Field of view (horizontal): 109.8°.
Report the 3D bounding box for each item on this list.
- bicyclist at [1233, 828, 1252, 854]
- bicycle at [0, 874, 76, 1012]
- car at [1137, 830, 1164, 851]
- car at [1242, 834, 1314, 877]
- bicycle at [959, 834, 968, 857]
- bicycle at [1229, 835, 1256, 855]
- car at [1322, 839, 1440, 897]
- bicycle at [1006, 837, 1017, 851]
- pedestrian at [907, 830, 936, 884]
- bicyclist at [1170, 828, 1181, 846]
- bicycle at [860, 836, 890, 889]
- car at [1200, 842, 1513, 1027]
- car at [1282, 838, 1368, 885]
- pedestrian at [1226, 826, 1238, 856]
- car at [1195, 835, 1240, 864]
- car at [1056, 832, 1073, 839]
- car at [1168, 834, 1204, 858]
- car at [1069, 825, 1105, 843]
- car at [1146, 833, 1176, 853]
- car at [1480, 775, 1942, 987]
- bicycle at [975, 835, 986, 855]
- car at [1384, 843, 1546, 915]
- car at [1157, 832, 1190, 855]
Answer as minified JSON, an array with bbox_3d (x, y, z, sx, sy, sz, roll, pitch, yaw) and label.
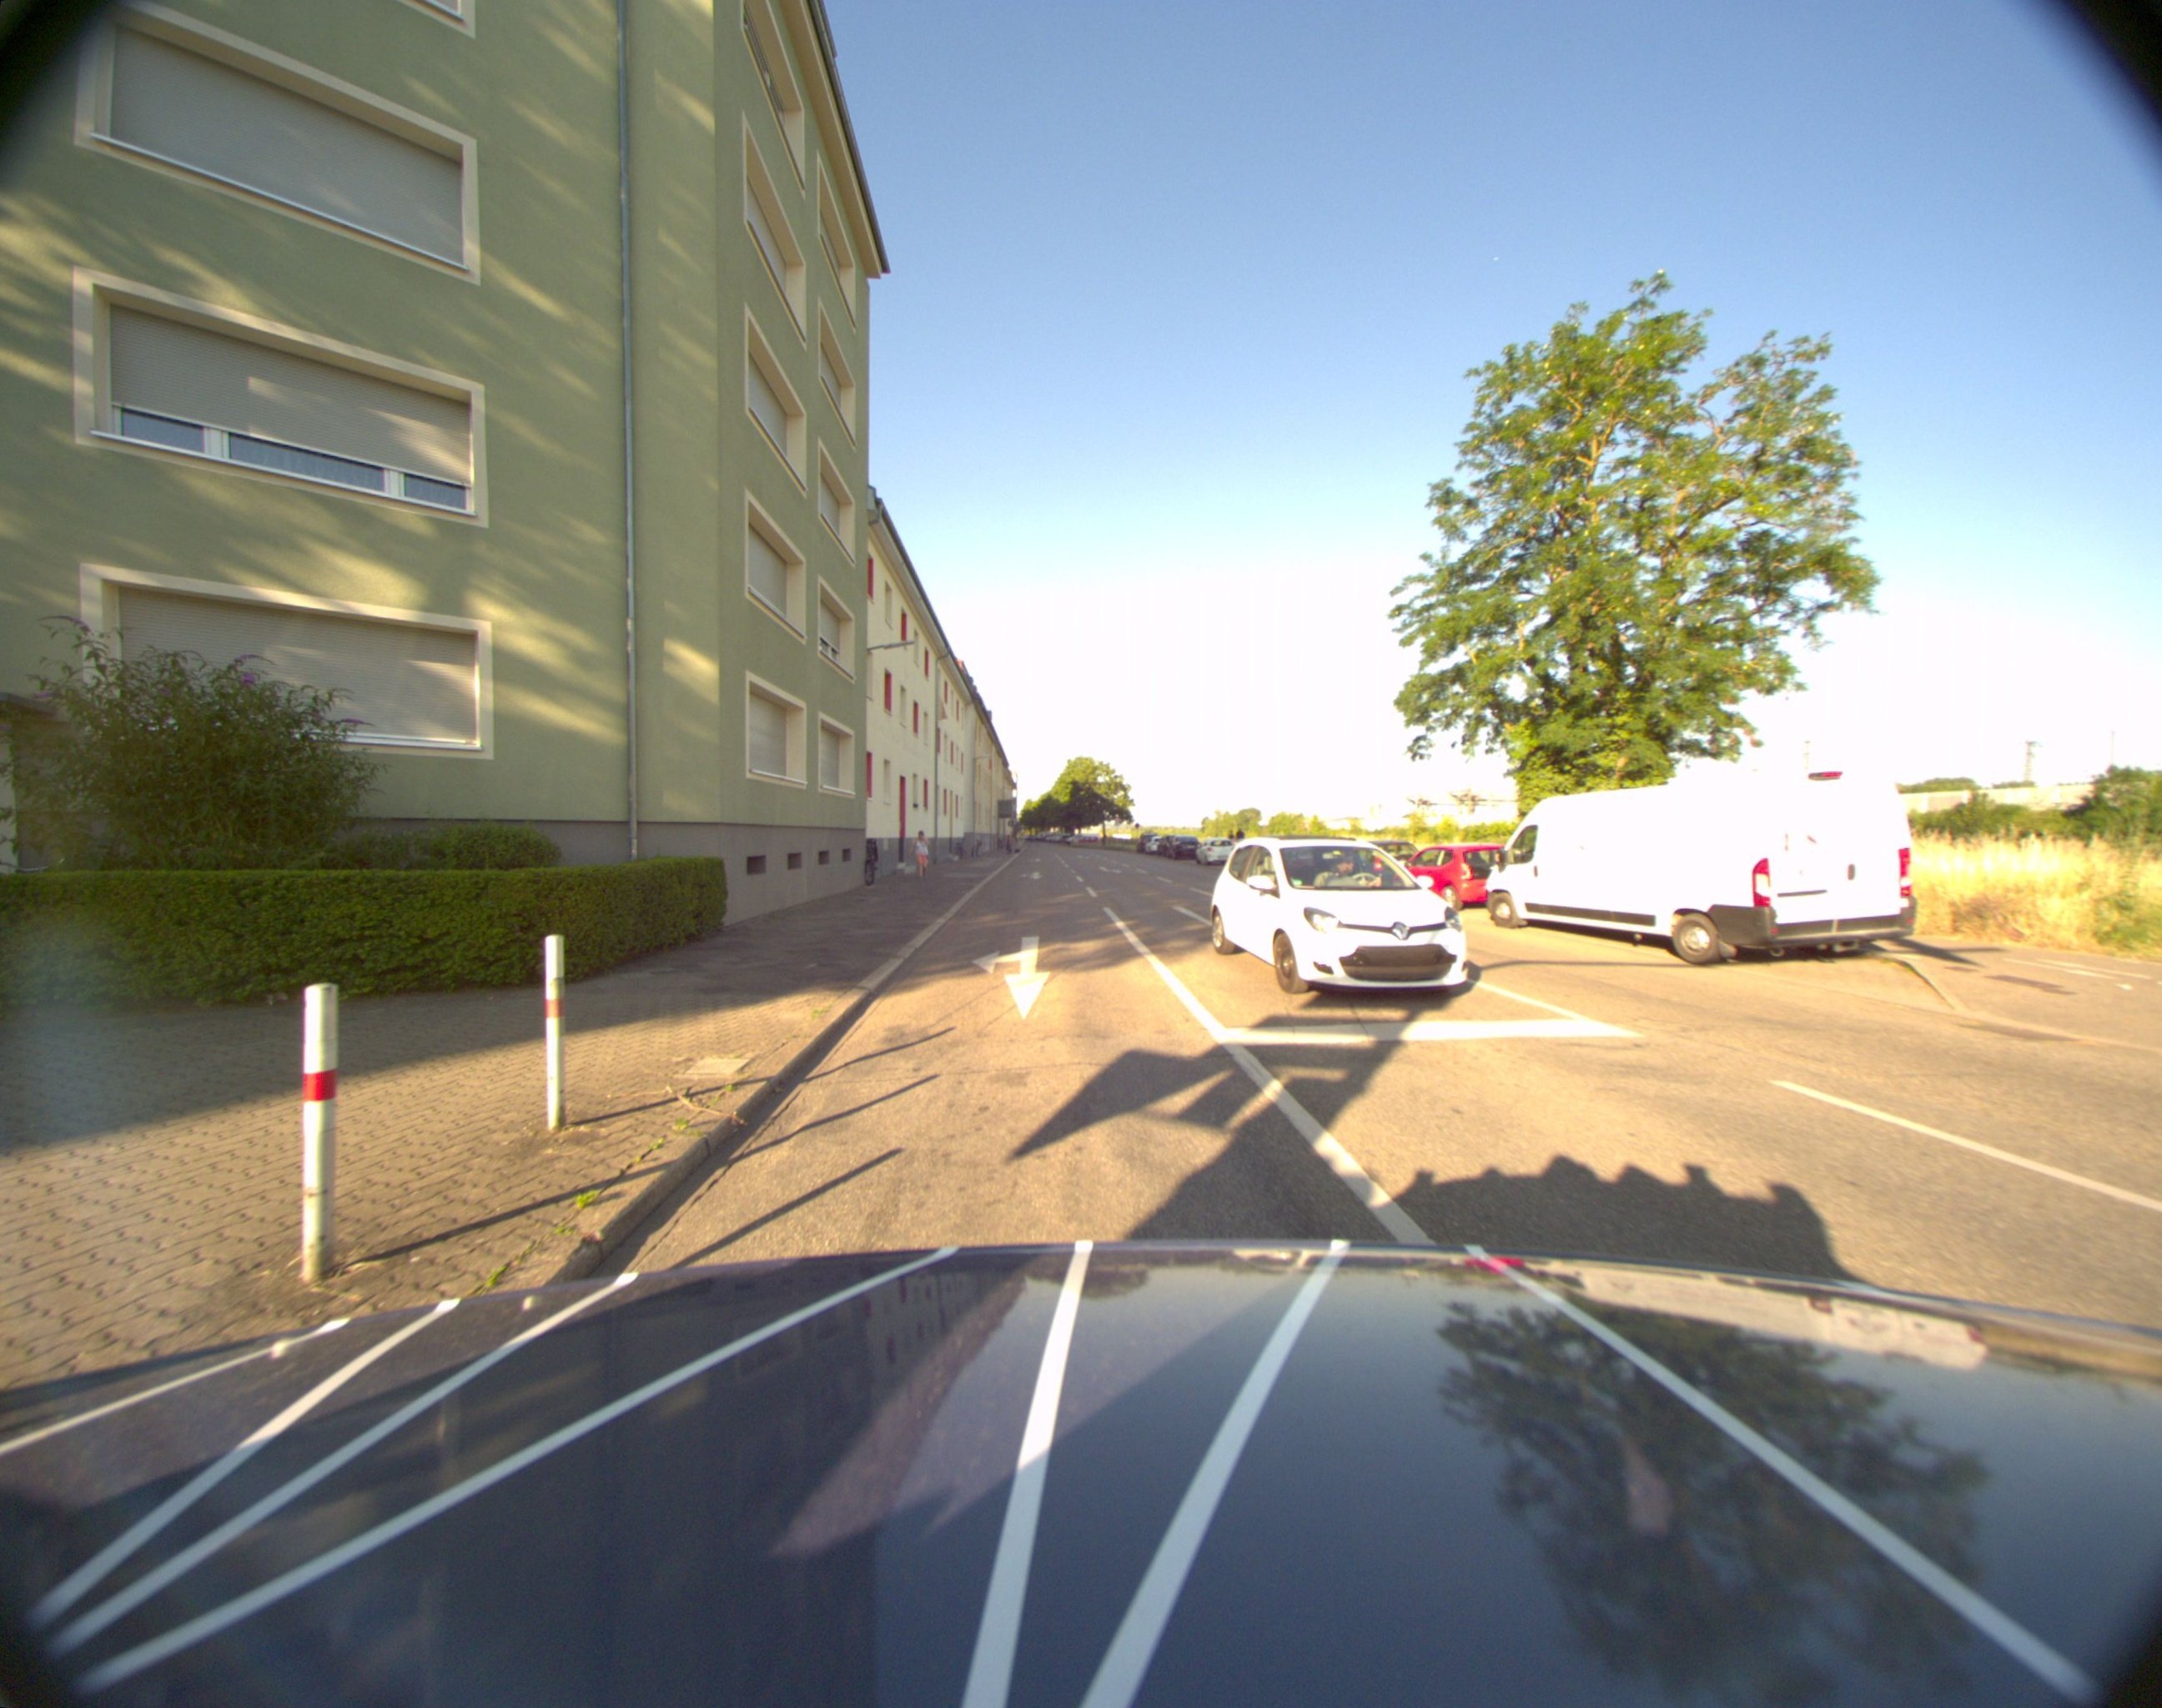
[{"bbox_3d":[10.053,-0.805,47.377,0.867,1.588,1.145,0,2,-5],"label":"bicyclist"},{"bbox_3d":[-9.146,0.718,6.247,0.647,0.997,1.842,-2,3,-40],"label":"bicycle"},{"bbox_3d":[6.178,-1.238,67.851,1.891,1.766,4.217,0,2,-2],"label":"car"},{"bbox_3d":[8.013,-0.004,31.295,1.664,1.650,4.003,0,2,-4],"label":"car"},{"bbox_3d":[-7.286,-0.554,47.228,0.518,1.404,1.871,0,2,-7],"label":"bicycle"},{"bbox_3d":[10.040,-0.582,47.436,0.940,1.182,2.480,0,2,-6],"label":"bicycle"},{"bbox_3d":[8.699,0.342,22.395,1.746,1.521,3.814,0,2,-4],"label":"car"},{"bbox_3d":[-5.738,-0.849,62.838,0.651,1.091,2.200,0,2,-12],"label":"bicycle"},{"bbox_3d":[-5.114,0.095,24.413,0.787,1.697,0.949,0,2,-4],"label":"pedestrian"},{"bbox_3d":[8.527,-1.541,68.656,0.768,1.588,1.145,0,2,-2],"label":"bicyclist"},{"bbox_3d":[-5.752,0.207,21.293,0.518,1.404,1.871,0,2,-7],"label":"bicycle"},{"bbox_3d":[2.567,0.623,8.118,1.705,1.460,3.772,0,2,-5],"label":"car"},{"bbox_3d":[8.475,0.205,26.703,1.664,1.521,3.577,0,2,-4],"label":"car"},{"bbox_3d":[9.989,-0.879,50.251,0.616,2.002,0.729,0,2,-6],"label":"pedestrian"},{"bbox_3d":[7.495,-0.270,41.997,1.707,1.517,3.581,0,2,-3],"label":"car"},{"bbox_3d":[-3.861,-4.338,179.492,3.999,1.708,1.998,0,2,-5],"label":"car"},{"bbox_3d":[6.998,-0.574,50.909,1.824,1.517,4.288,0,2,1],"label":"car"},{"bbox_3d":[0.924,-3.118,118.805,5.323,2.399,2.264,-4,2,-4],"label":"car"},{"bbox_3d":[6.465,-0.925,61.981,1.824,1.565,4.217,0,2,-2],"label":"car"},{"bbox_3d":[8.985,0.225,11.797,2.236,2.423,5.556,-3,2,-5],"label":"car"},{"bbox_3d":[-6.878,-0.630,52.200,0.517,1.318,2.209,0,2,-2],"label":"bicycle"},{"bbox_3d":[8.920,0.512,18.036,1.746,1.478,3.691,0,2,-4],"label":"car"},{"bbox_3d":[6.853,-0.834,56.606,1.824,1.628,4.217,0,2,-2],"label":"car"}]
